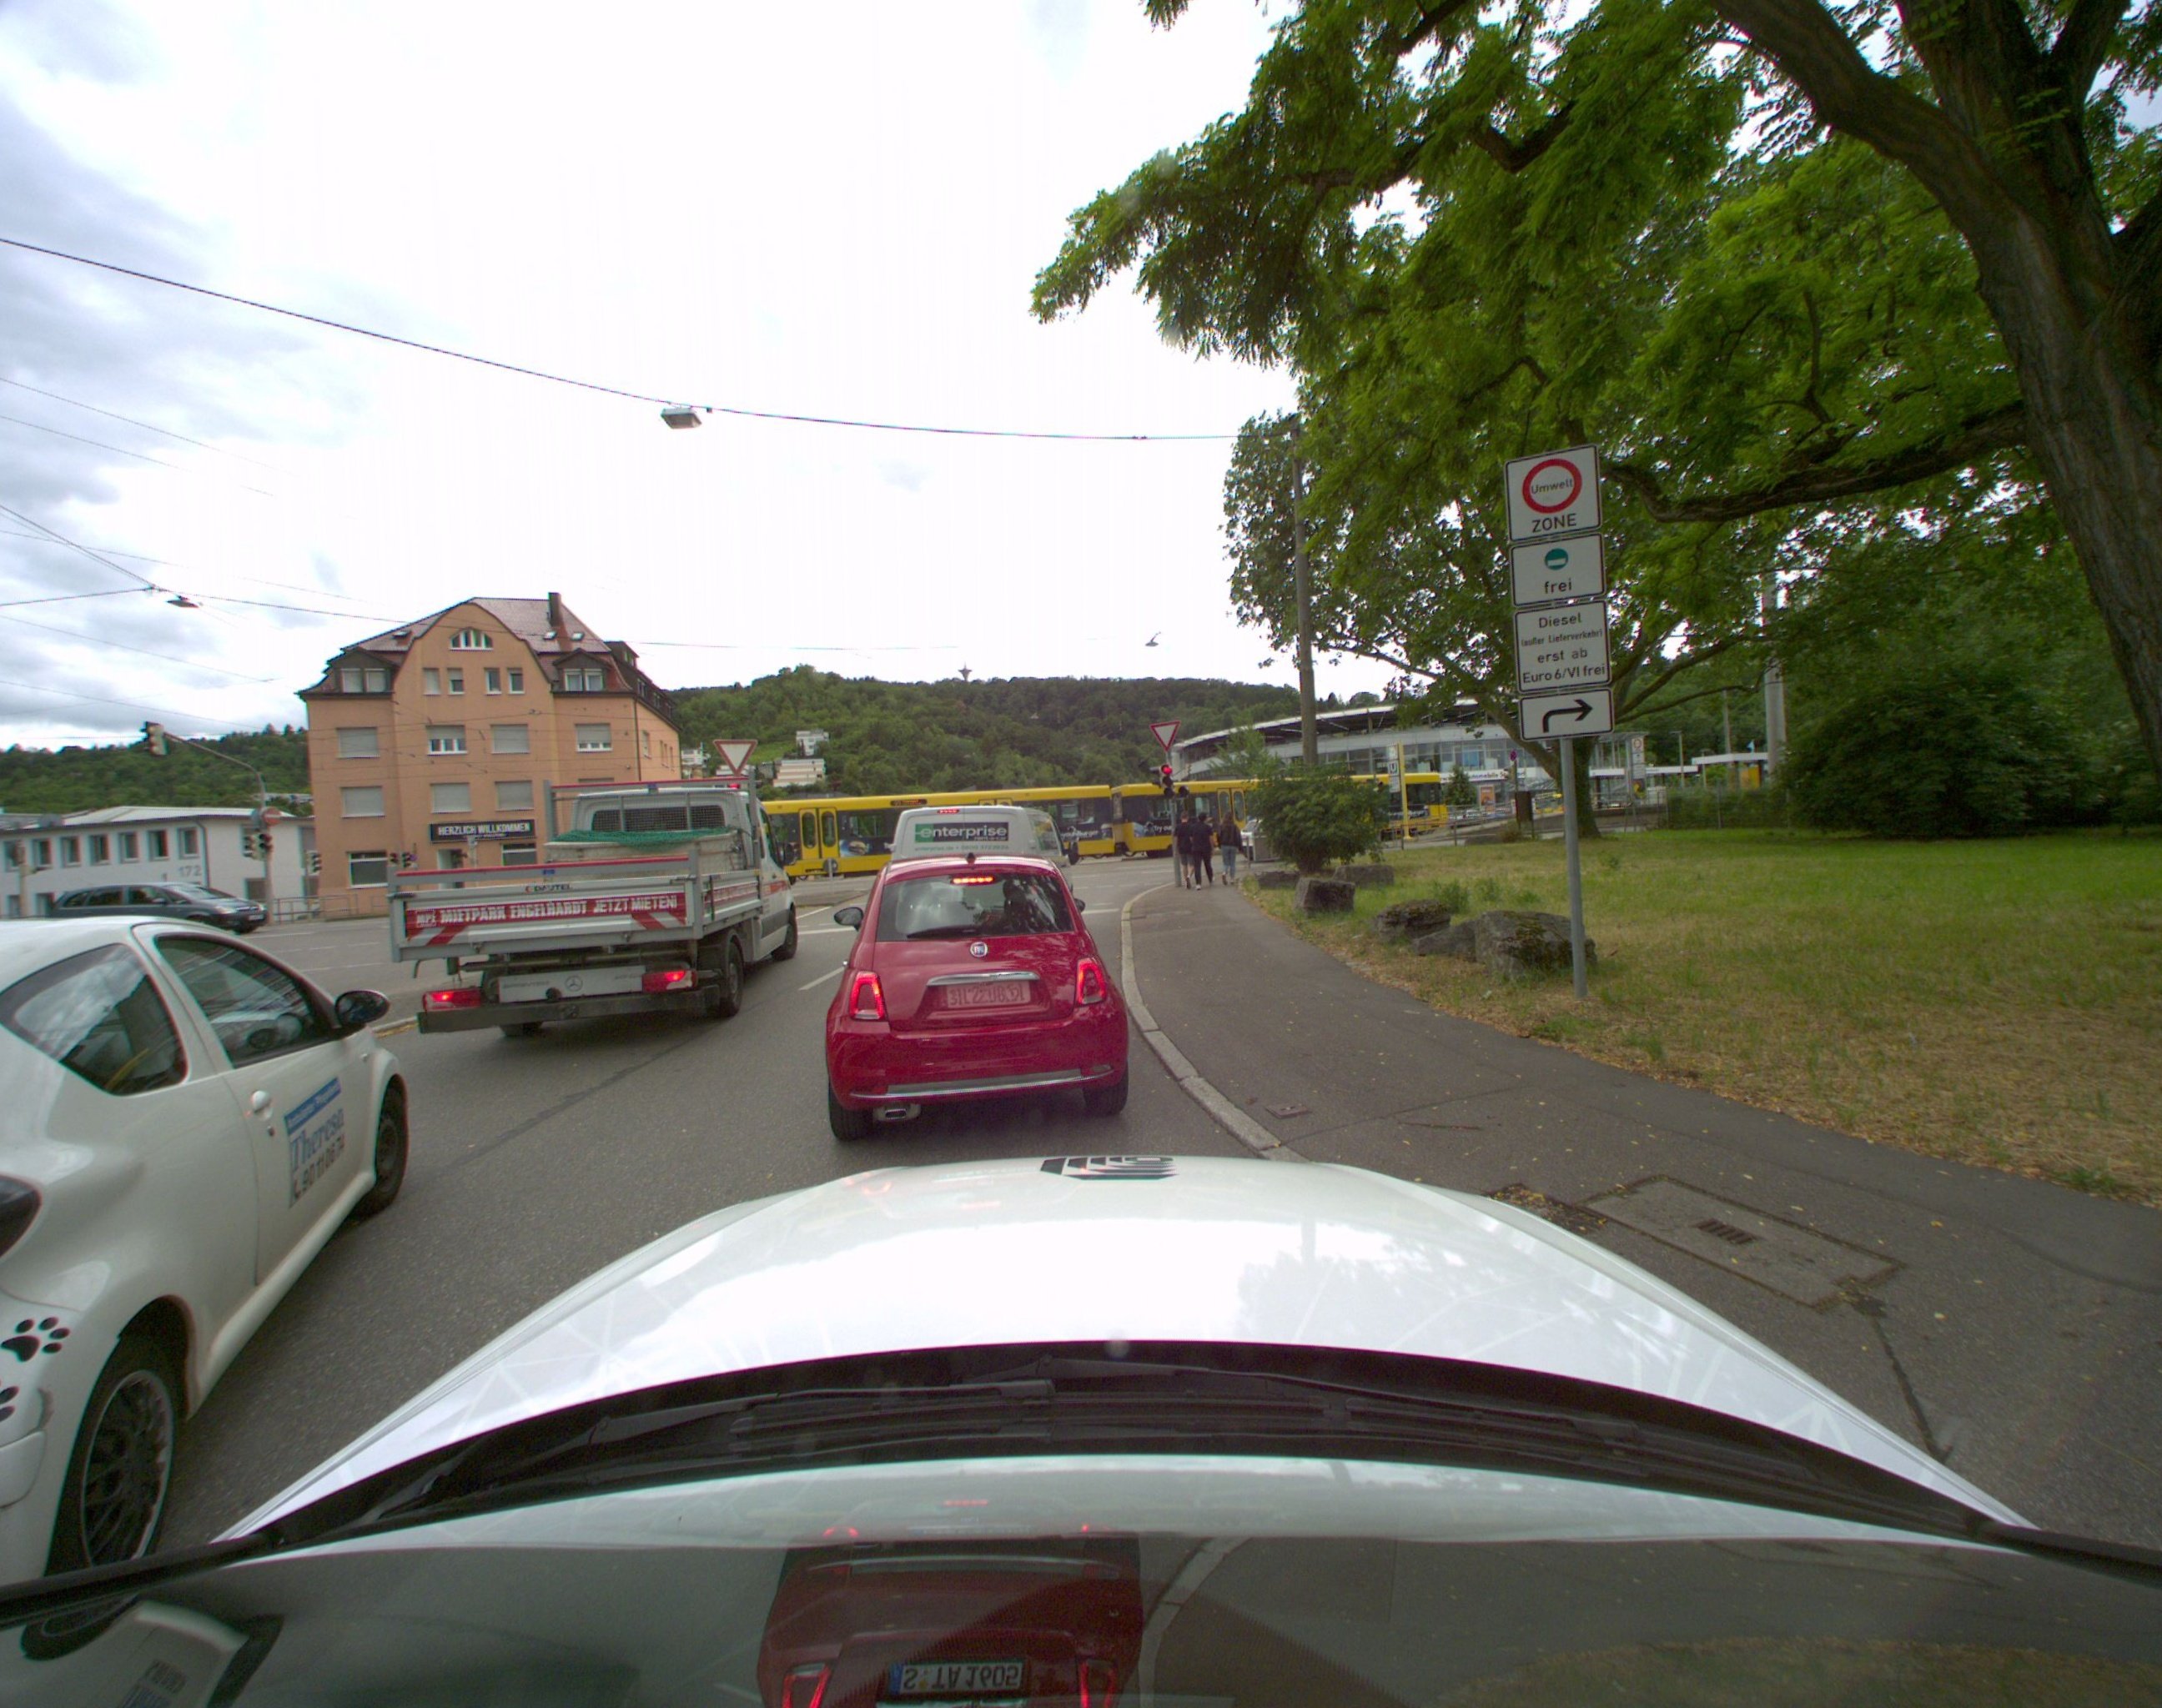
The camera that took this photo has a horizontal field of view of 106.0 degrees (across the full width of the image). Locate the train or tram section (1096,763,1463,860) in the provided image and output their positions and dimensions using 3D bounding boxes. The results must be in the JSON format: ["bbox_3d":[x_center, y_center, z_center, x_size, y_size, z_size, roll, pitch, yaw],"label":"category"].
[{"bbox_3d":[10.365,-2.244,40.876,19.177,3.665,3.256,-4,1,-20],"label":"train or tram section"}]

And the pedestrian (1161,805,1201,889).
[{"bbox_3d":[2.300,-0.170,18.696,0.688,1.857,0.791,-4,1,14],"label":"pedestrian"}]

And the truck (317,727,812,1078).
[{"bbox_3d":[-4.726,0.300,8.993,2.423,2.397,6.006,-4,1,-11],"label":"truck"}]

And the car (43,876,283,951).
[{"bbox_3d":[-24.681,1.548,22.059,3.880,1.584,1.795,-4,1,-13],"label":"car"}]

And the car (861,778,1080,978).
[{"bbox_3d":[-1.250,0.222,11.504,1.981,2.106,4.767,-4,1,4],"label":"car"}]

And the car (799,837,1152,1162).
[{"bbox_3d":[-0.747,0.674,5.675,1.638,1.456,3.420,-3,1,-9],"label":"car"}]

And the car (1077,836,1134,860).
[{"bbox_3d":[1.847,-0.468,61.441,3.837,1.500,1.784,-3,1,18],"label":"car"}]

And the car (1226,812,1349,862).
[{"bbox_3d":[7.746,-0.637,30.549,4.129,1.584,1.790,-4,1,-22],"label":"car"}]

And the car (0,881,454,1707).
[{"bbox_3d":[-3.297,0.882,2.471,1.649,1.432,3.398,-5,1,-30],"label":"car"}]

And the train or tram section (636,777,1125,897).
[{"bbox_3d":[-7.774,-0.899,34.712,19.159,3.665,3.259,-4,1,-17],"label":"train or tram section"}]

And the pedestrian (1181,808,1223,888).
[{"bbox_3d":[2.706,-0.138,18.143,0.687,1.714,0.792,-4,1,17],"label":"pedestrian"}]

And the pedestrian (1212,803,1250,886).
[{"bbox_3d":[3.321,-0.211,17.988,0.689,1.739,0.791,-4,1,11],"label":"pedestrian"}]
